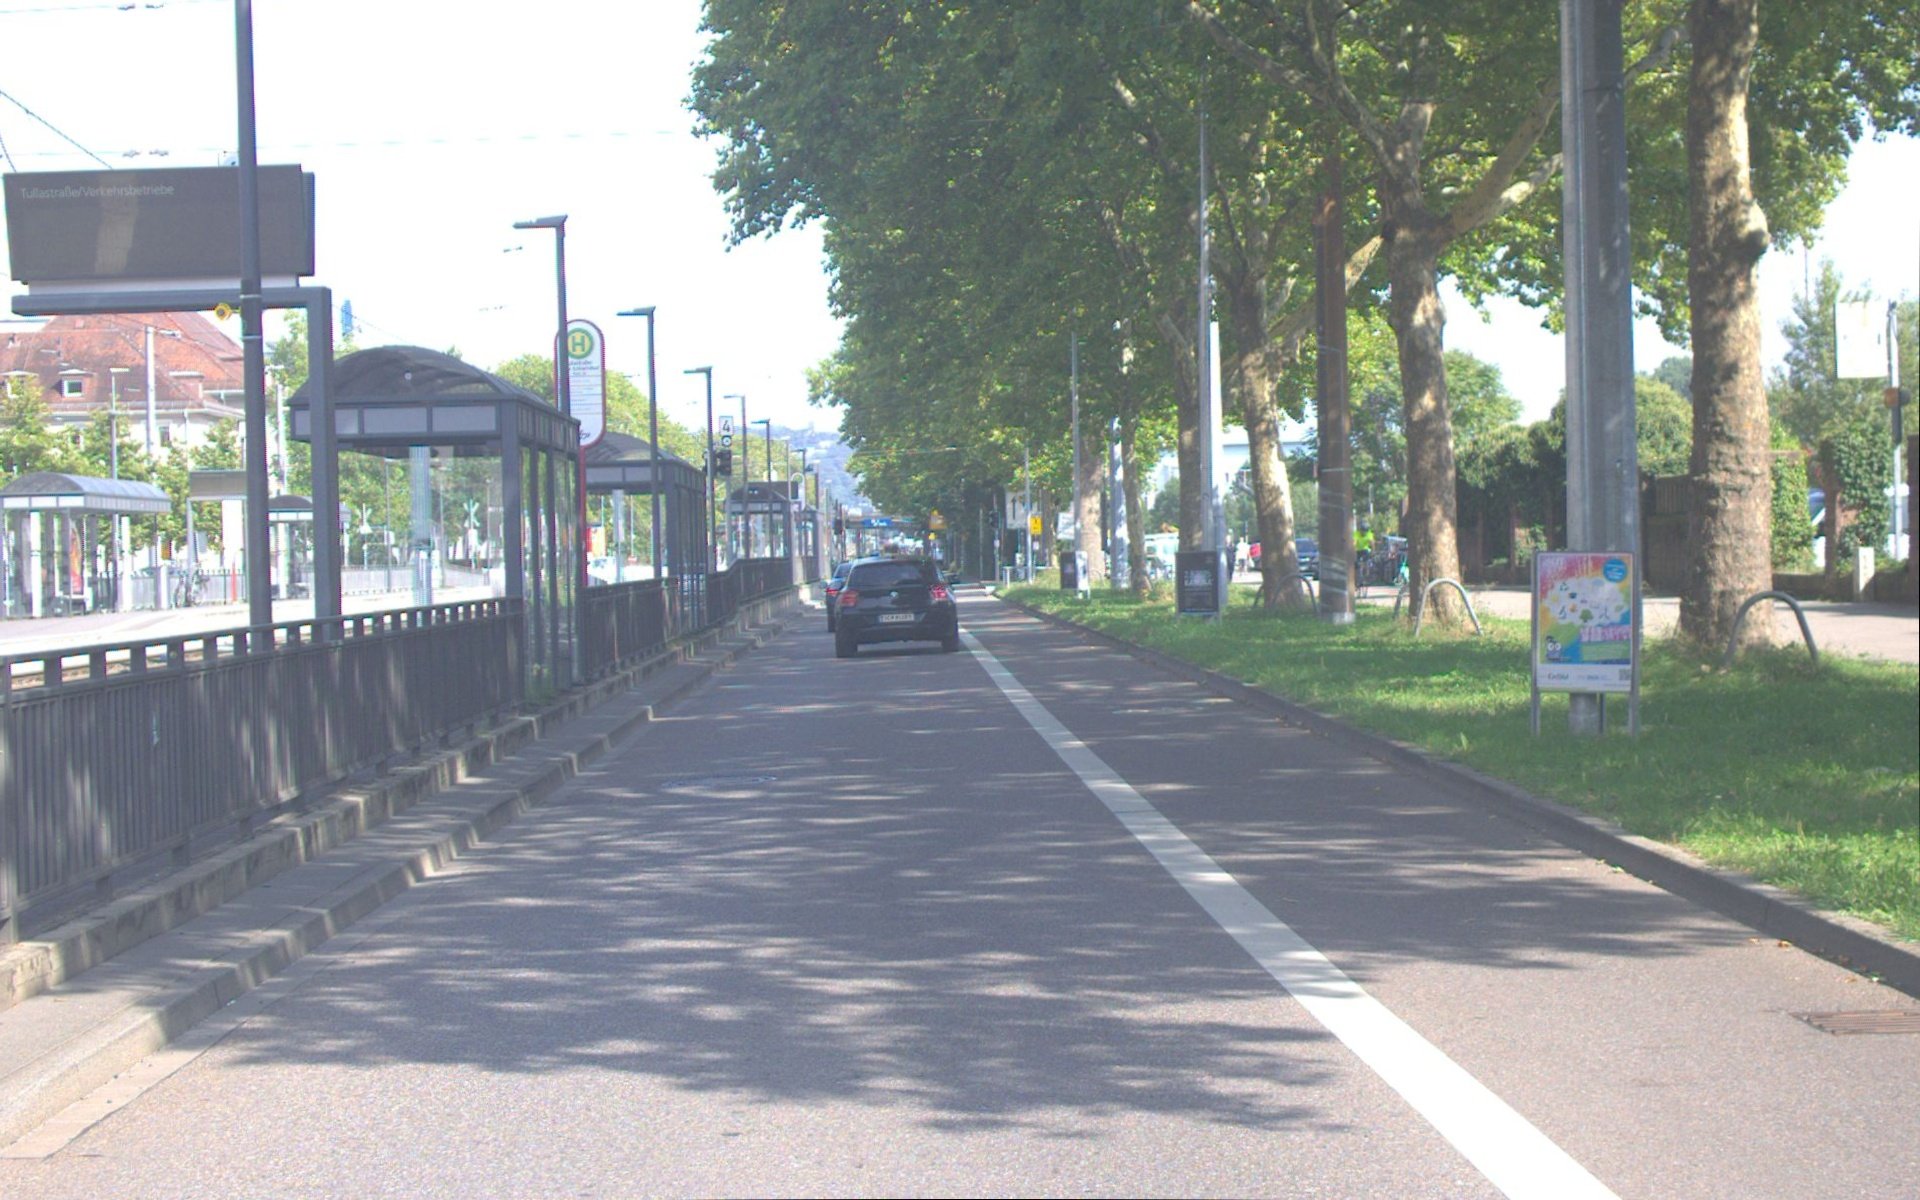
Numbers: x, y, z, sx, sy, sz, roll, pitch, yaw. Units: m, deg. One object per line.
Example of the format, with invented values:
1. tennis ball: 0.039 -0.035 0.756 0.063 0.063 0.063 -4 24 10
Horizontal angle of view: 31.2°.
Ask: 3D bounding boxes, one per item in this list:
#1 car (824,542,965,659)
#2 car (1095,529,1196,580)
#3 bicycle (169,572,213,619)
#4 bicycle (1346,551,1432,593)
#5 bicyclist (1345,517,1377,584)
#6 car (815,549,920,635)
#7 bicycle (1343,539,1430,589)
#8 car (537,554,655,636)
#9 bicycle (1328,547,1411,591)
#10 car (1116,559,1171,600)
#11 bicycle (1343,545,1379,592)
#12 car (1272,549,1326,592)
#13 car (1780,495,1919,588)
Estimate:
1. car: -0.978 -0.013 50.397 1.907 1.532 4.000 -3 1 -2
2. car: 7.811 -1.925 145.056 4.103 1.912 1.847 -3 1 2
3. bicycle: -19.509 -0.119 87.240 0.471 1.143 1.483 -1 0 14
4. bicycle: 11.551 -0.753 92.607 2.173 1.073 0.743 -2 0 -2
5. bicyclist: 8.776 -1.086 75.225 0.548 1.448 0.842 -2 1 -1
6. car: -1.904 -0.180 70.419 1.973 1.532 4.000 -5 1 -2
7. bicycle: 12.054 -1.015 97.136 2.244 1.272 0.999 -4 -1 -1
8. car: -7.395 -0.134 70.112 1.993 1.554 4.000 -2 1 -1
9. bicycle: 11.394 -0.858 95.632 2.173 1.073 0.743 -4 0 3
10. car: 7.018 -0.805 131.717 1.728 1.444 4.551 -3 1 -1
11. bicycle: 8.783 -0.703 75.319 0.548 1.003 1.713 -2 1 -1
12. car: 13.092 -1.159 132.971 1.607 1.570 3.796 -3 1 -1
13. car: 18.821 -1.205 68.237 4.521 1.728 1.910 -2 1 -3
